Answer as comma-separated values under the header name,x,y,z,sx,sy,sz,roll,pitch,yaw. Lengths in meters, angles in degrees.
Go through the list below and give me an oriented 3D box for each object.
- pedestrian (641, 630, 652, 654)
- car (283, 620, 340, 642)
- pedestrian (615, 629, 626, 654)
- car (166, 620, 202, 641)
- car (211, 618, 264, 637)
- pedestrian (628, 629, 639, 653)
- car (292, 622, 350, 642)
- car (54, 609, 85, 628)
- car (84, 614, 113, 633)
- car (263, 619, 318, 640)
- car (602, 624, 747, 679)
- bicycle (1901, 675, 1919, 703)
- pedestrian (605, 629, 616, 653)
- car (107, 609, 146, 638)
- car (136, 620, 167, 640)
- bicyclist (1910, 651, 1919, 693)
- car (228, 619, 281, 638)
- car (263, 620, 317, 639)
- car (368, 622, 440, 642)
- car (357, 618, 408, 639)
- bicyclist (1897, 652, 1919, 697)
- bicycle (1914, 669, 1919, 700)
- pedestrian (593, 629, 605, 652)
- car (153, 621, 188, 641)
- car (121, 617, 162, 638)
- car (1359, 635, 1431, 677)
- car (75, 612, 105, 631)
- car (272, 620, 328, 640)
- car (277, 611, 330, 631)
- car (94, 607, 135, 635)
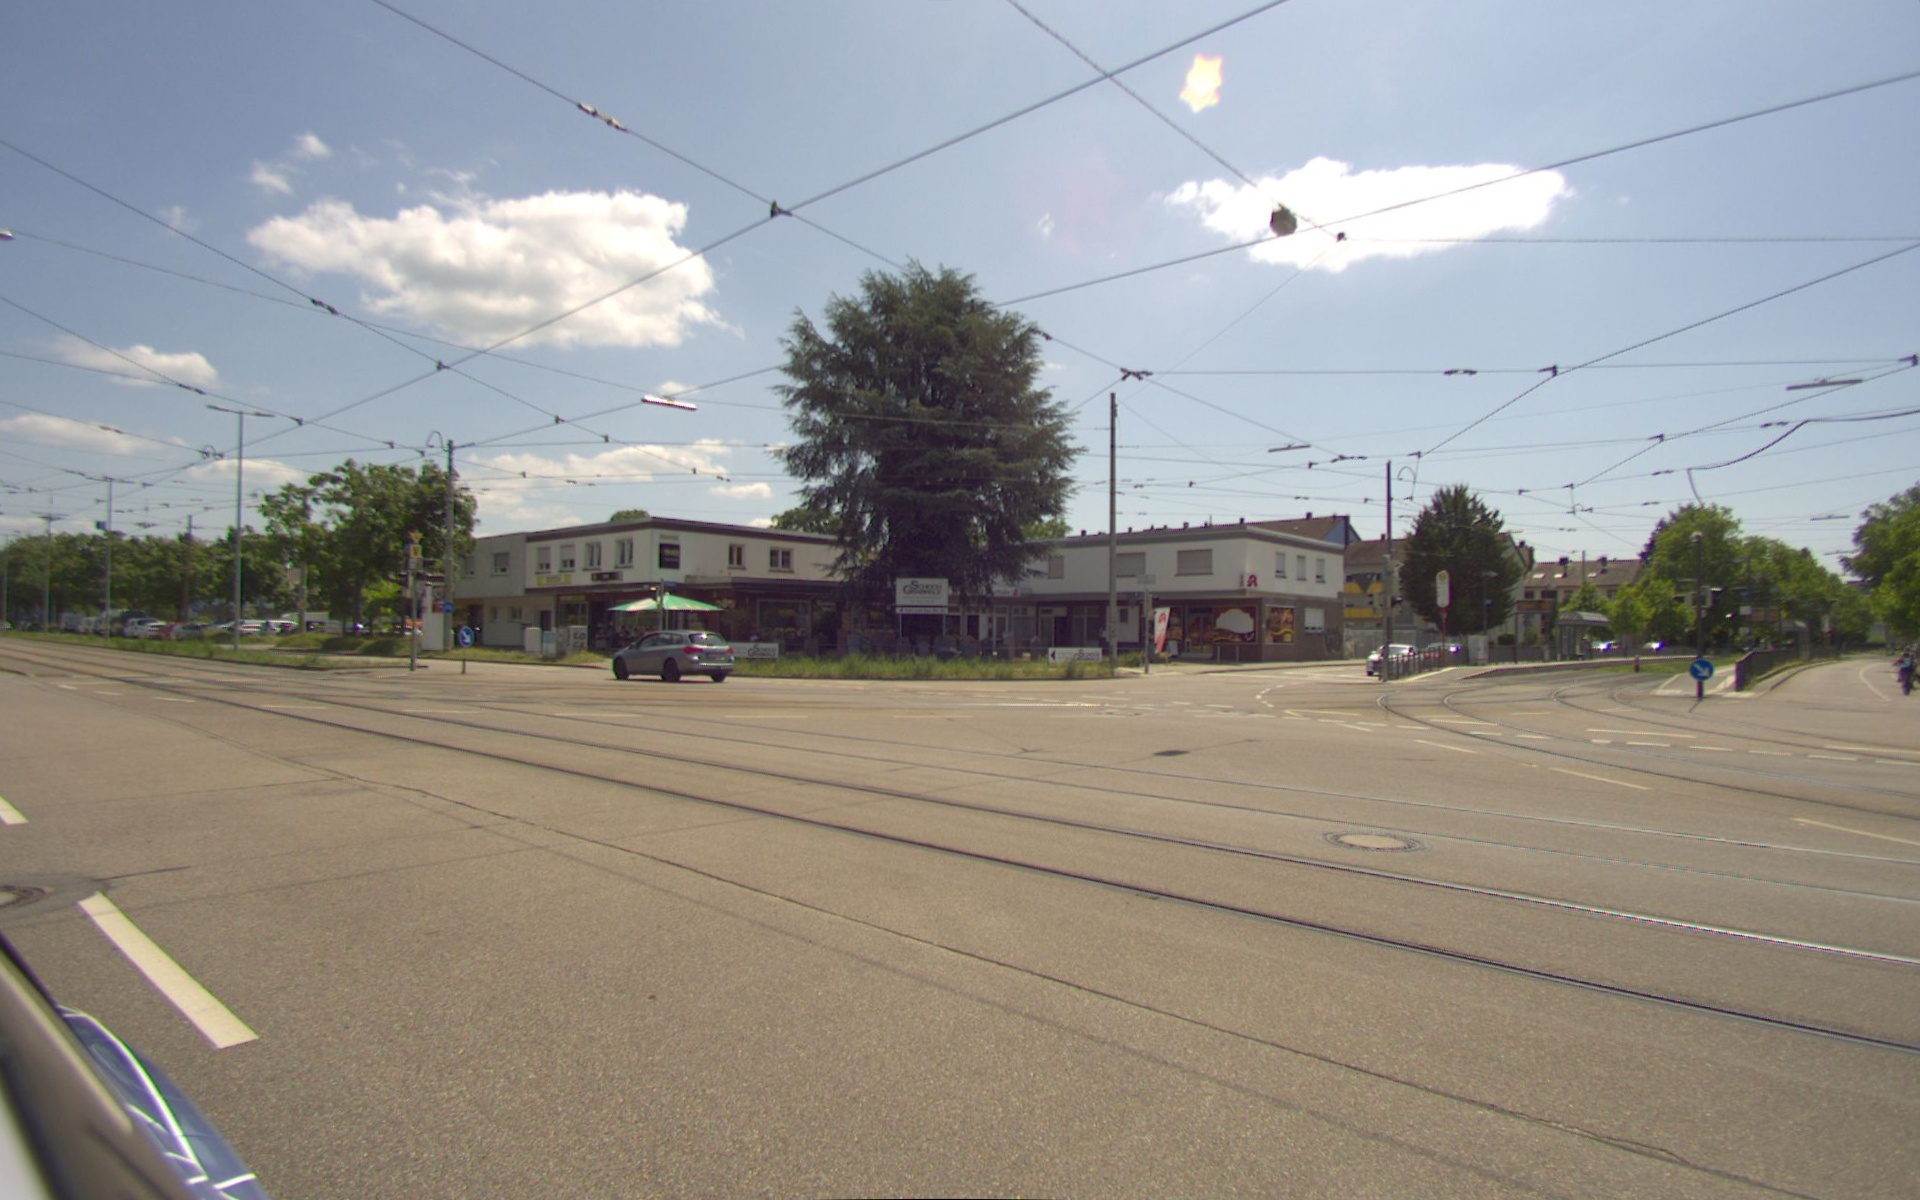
name,x,y,z,sx,sy,sz,roll,pitch,yaw
pedestrian,-16.543,2.219,53.460,0.452,1.278,0.337,-2,-3,44
car,-58.369,2.773,91.100,1.803,1.749,3.944,0,-4,42
pedestrian,-18.045,2.204,53.801,0.501,1.278,0.315,-1,-3,42
car,-61.674,2.387,80.394,4.551,1.551,1.559,0,0,43
car,-76.778,2.916,107.587,1.803,1.749,4.144,0,-4,42
pedestrian,-17.650,2.221,54.674,0.400,1.255,0.382,-1,-3,42
car,-56.453,2.840,89.459,1.879,1.749,3.944,-1,-3,42
car,-105.139,2.135,119.451,4.485,2.117,2.045,0,0,40
car,-91.000,2.430,106.877,4.648,1.953,1.771,0,0,42
car,-64.140,2.840,96.968,1.803,1.749,3.944,0,-4,42
car,-8.410,1.472,29.620,4.399,1.482,1.973,-1,-3,41
bicycle,31.400,2.938,33.418,0.418,0.888,2.226,0,-4,42
pedestrian,-18.866,2.216,54.571,0.528,1.278,0.340,-2,-3,44
car,-78.647,2.139,95.438,5.032,2.631,2.128,0,0,42
car,-69.331,2.551,86.747,4.359,1.551,1.483,0,0,43
bicyclist,34.851,2.626,36.547,0.841,1.498,0.737,5,-4,-44
car,-70.811,2.859,101.611,1.803,1.749,3.944,0,-4,42
car,-65.572,2.875,99.076,1.902,1.749,3.944,-1,-3,42
car,-42.650,2.440,77.662,1.907,1.445,4.424,-1,-3,44
car,-66.725,3.327,116.999,1.849,2.241,4.594,0,-4,38
bicyclist,31.448,2.461,33.468,0.631,1.433,0.951,0,-4,41
bicycle,35.043,3.090,36.743,0.517,1.109,2.224,-1,-4,45
pedestrian,-19.726,2.209,55.309,0.532,1.278,0.349,-1,-3,42
car,-65.566,2.550,84.069,3.645,1.551,1.484,0,0,39
car,-74.141,2.465,91.614,4.887,1.851,2.128,0,0,42
car,20.051,2.588,46.605,1.900,1.738,3.799,0,-4,43
car,-95.879,2.353,111.476,4.485,1.953,1.772,0,0,40
car,-60.447,2.747,92.761,1.803,1.749,3.944,-1,-3,42
car,-88.677,2.875,136.749,2.257,2.500,5.627,-1,-3,38
car,-84.498,2.076,101.090,6.701,2.631,2.128,0,0,41
